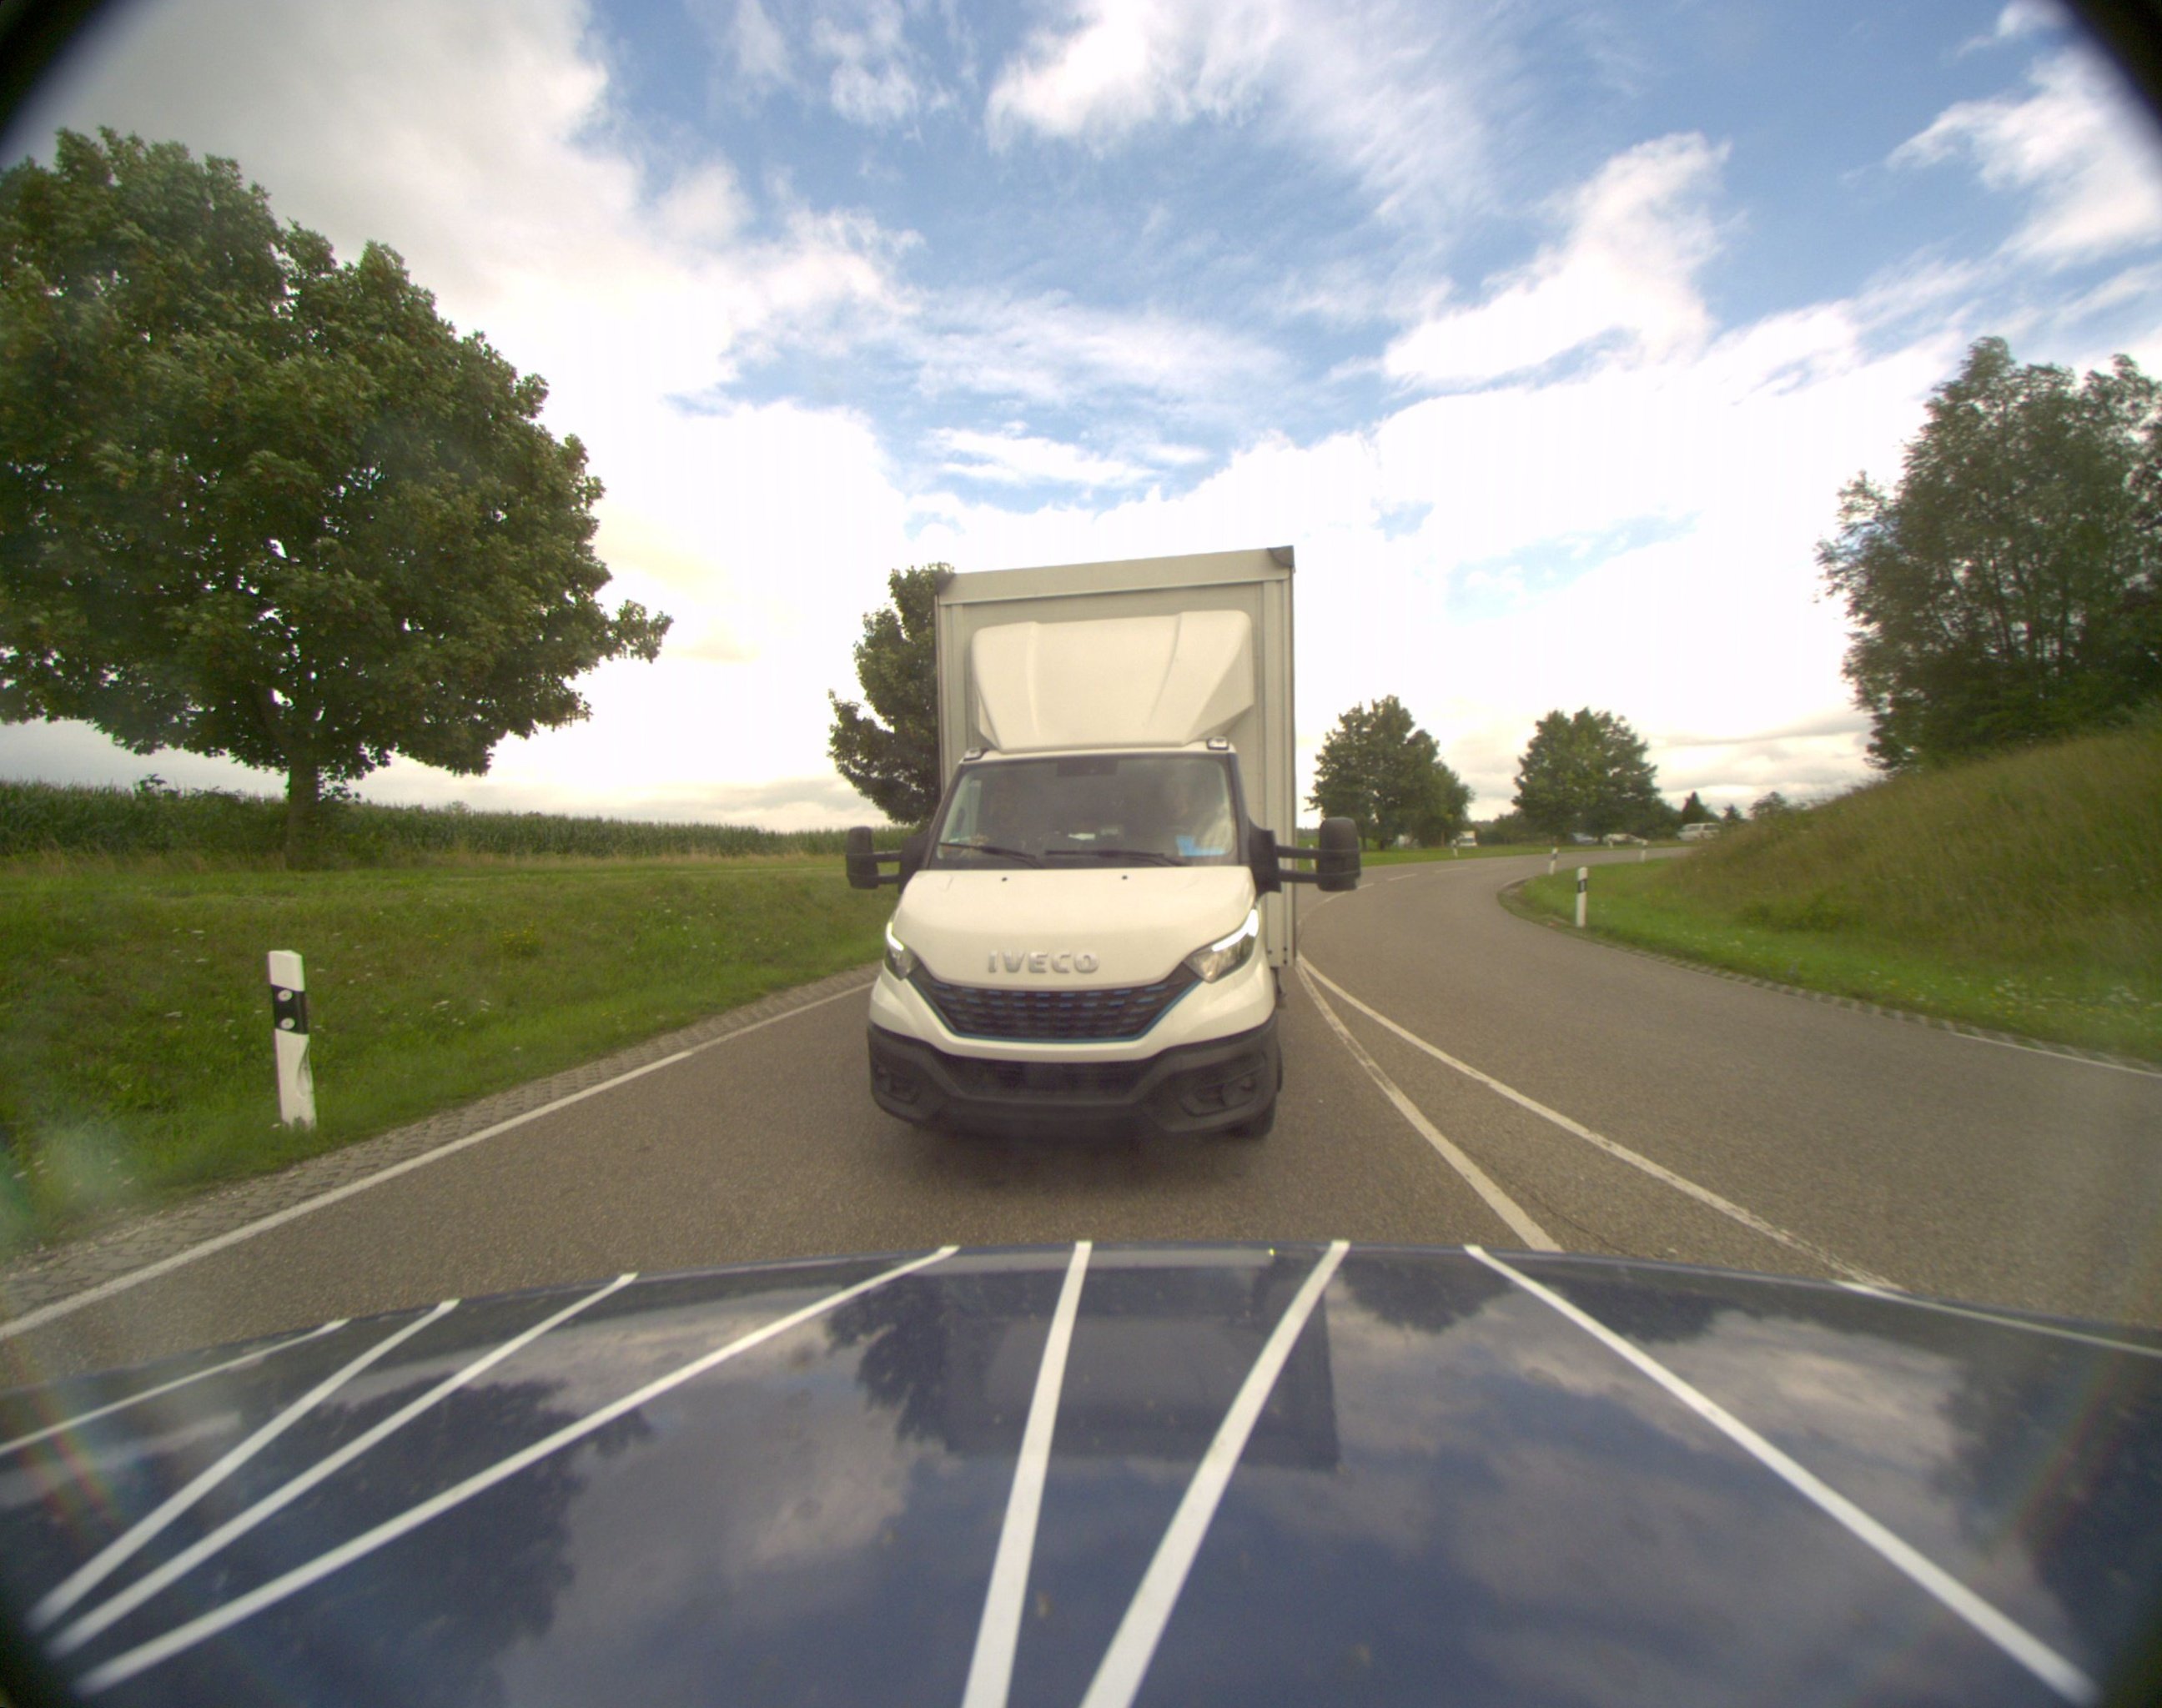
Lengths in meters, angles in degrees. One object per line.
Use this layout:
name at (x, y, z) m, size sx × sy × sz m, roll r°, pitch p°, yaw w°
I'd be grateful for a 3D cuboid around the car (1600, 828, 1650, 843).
car at (63.127, -2.162, 88.213) m, size 4.393 × 1.576 × 2.003 m, roll -2°, pitch 0°, yaw 26°

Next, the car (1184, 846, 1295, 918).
car at (3.820, 0.584, 17.794) m, size 1.747 × 1.457 × 4.006 m, roll -2°, pitch 0°, yaw 23°

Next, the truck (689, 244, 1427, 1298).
truck at (0.563, -0.330, 7.276) m, size 2.835 × 3.742 × 8.804 m, roll -1°, pitch 1°, yaw 10°

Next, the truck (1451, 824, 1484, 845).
truck at (48.808, -2.427, 96.144) m, size 2.288 × 2.407 × 6.388 m, roll -2°, pitch 0°, yaw 14°
